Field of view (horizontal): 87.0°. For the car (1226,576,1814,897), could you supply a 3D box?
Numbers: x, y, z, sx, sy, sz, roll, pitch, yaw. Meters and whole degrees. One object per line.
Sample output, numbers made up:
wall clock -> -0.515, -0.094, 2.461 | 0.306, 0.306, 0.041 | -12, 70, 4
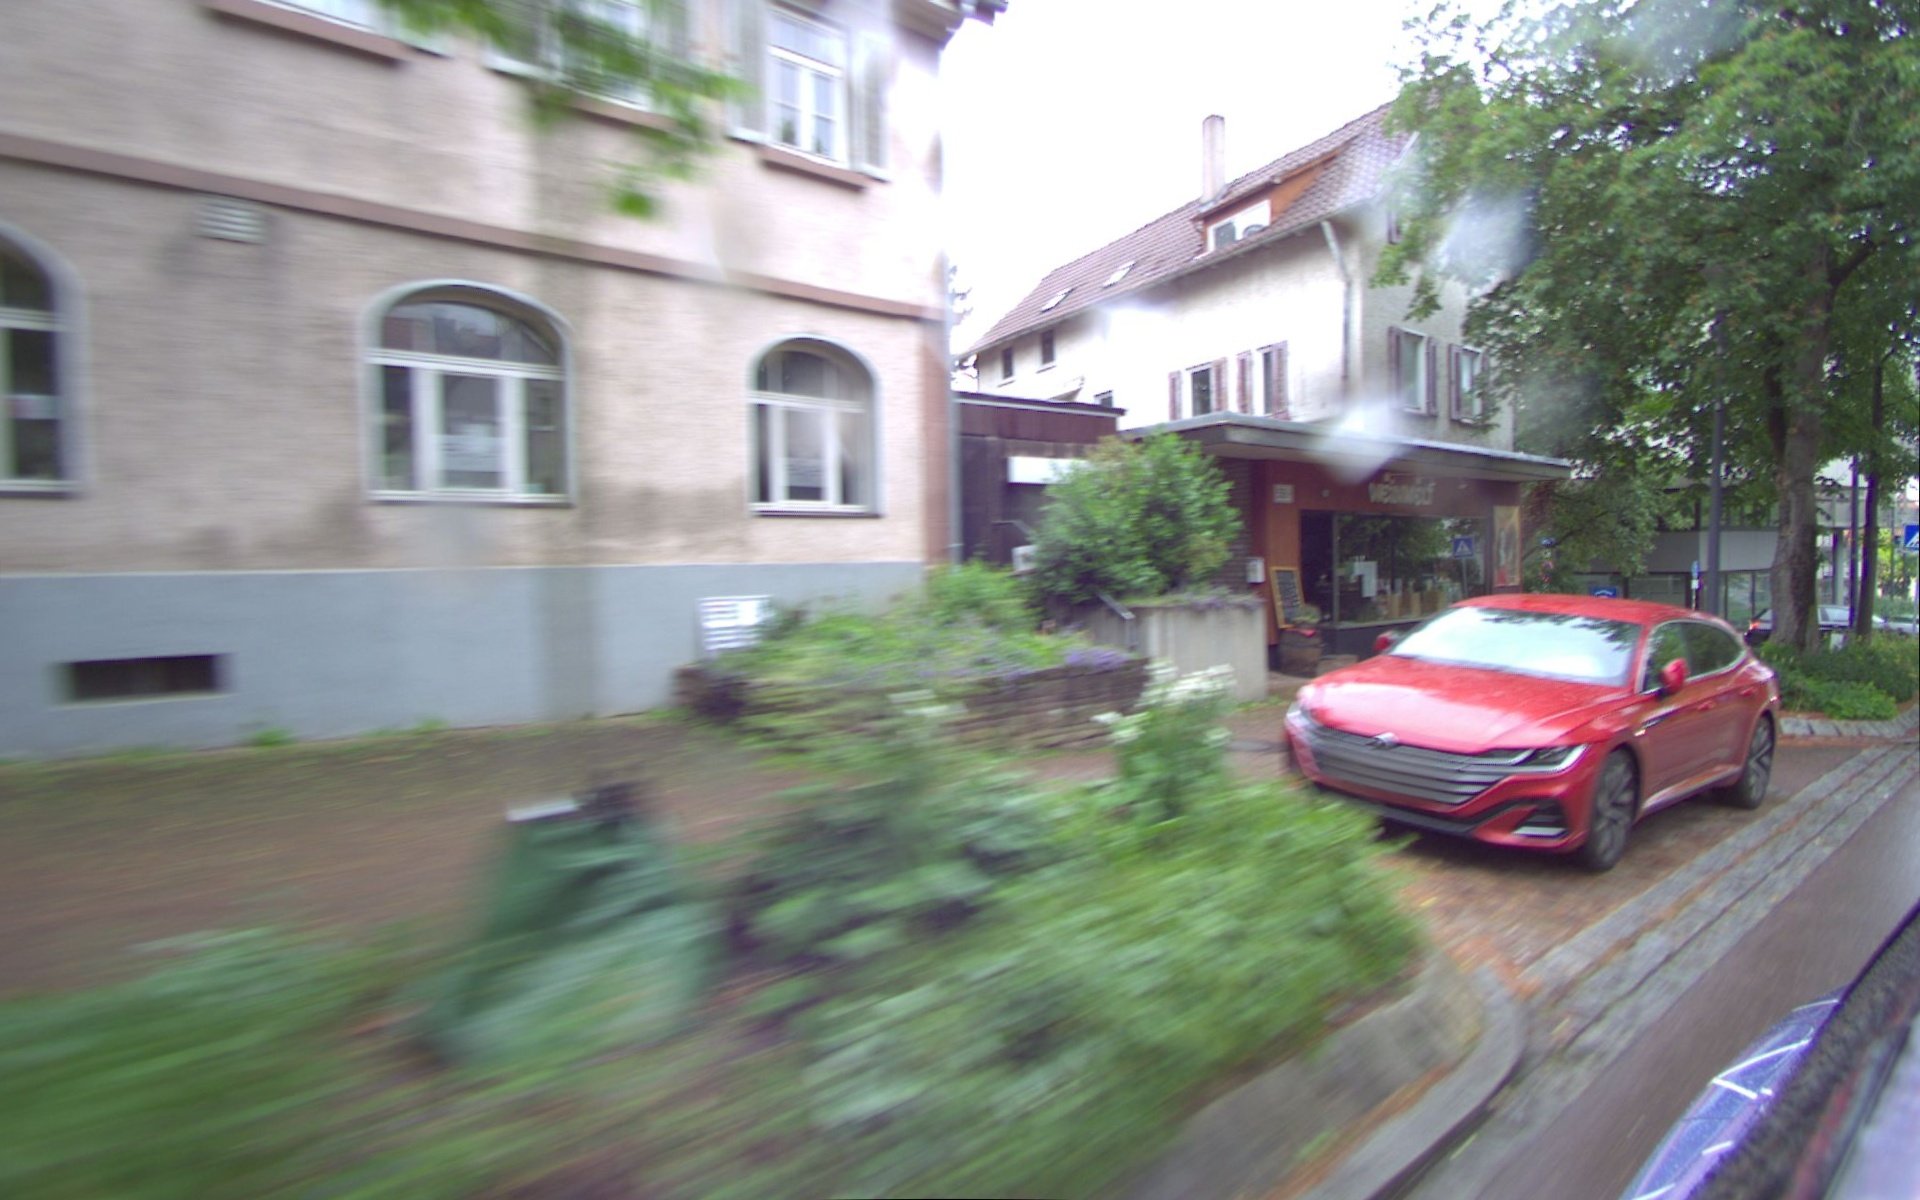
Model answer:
car -> 4.084, 0.635, 6.996 | 4.736, 1.487, 1.897 | 0, 1, -39

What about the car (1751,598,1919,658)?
car -> 23.497, 0.700, 26.410 | 1.798, 1.478, 4.264 | 1, -1, -42
